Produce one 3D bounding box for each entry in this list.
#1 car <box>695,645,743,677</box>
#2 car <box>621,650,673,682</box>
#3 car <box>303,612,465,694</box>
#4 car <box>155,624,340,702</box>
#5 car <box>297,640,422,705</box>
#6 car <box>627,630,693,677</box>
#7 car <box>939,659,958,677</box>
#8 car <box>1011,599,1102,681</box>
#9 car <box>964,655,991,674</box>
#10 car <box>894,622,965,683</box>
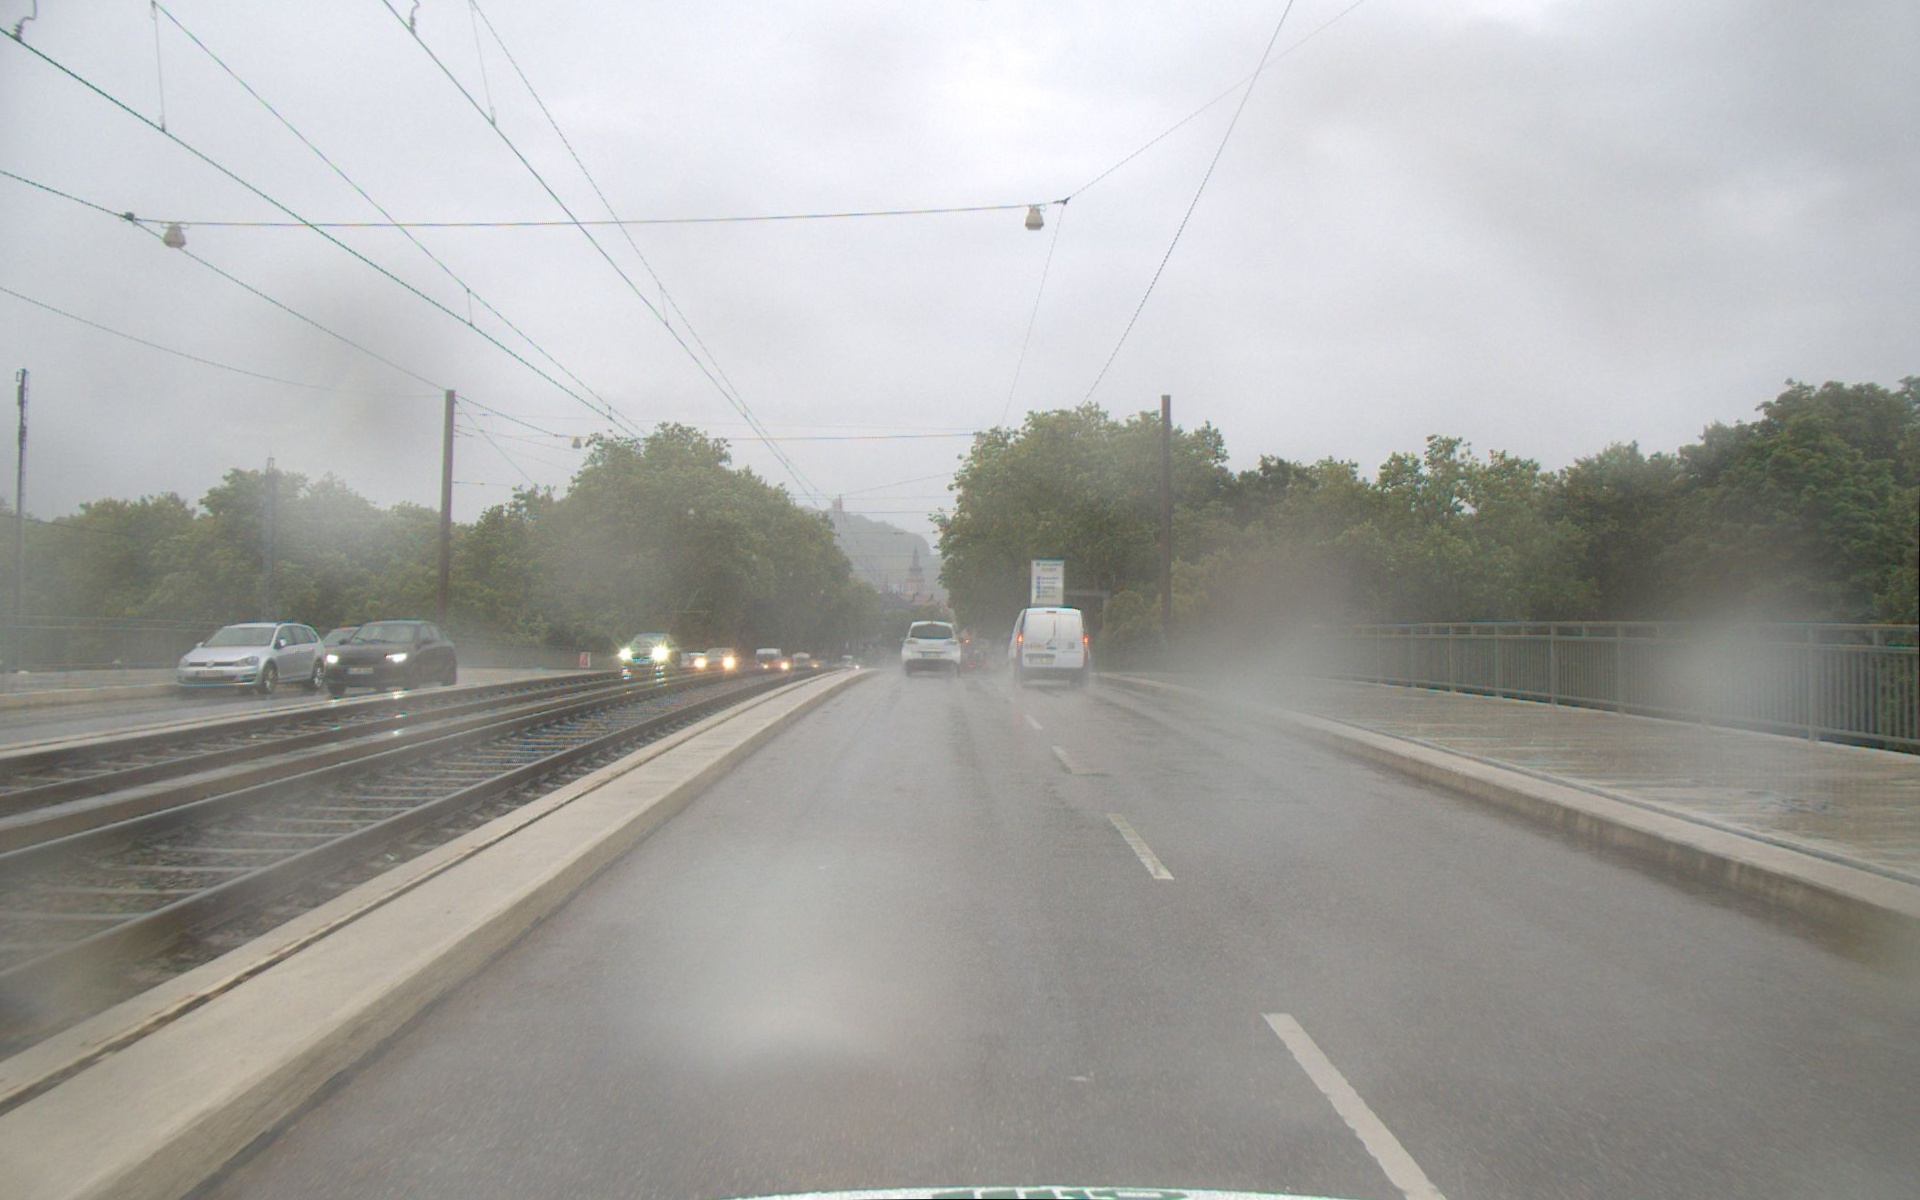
[{"bbox_3d":[-11.917,2.998,82.097,1.762,1.508,4.082,2,-2,0],"label":"car"},{"bbox_3d":[-15.374,3.229,81.439,1.826,1.481,4.317,-2,-2,-2],"label":"car"},{"bbox_3d":[-11.716,1.077,33.914,1.953,1.536,4.090,-2,-2,-2],"label":"car"},{"bbox_3d":[-14.778,1.292,34.617,1.953,1.481,4.618,-2,-2,-2],"label":"car"},{"bbox_3d":[-14.733,1.759,40.824,1.587,1.481,4.320,-2,-2,-2],"label":"car"},{"bbox_3d":[-11.439,2.041,63.277,1.781,1.683,3.999,2,-2,0],"label":"car"},{"bbox_3d":[-1.231,7.520,183.342,1.952,1.859,4.000,2,-2,1],"label":"car"},{"bbox_3d":[2.199,0.947,38.703,1.952,1.757,4.000,2,-2,1],"label":"car"},{"bbox_3d":[1.365,4.974,128.347,1.952,1.344,4.000,2,-2,1],"label":"car"},{"bbox_3d":[-0.877,1.596,50.580,1.952,1.747,4.000,2,-2,1],"label":"car"}]
